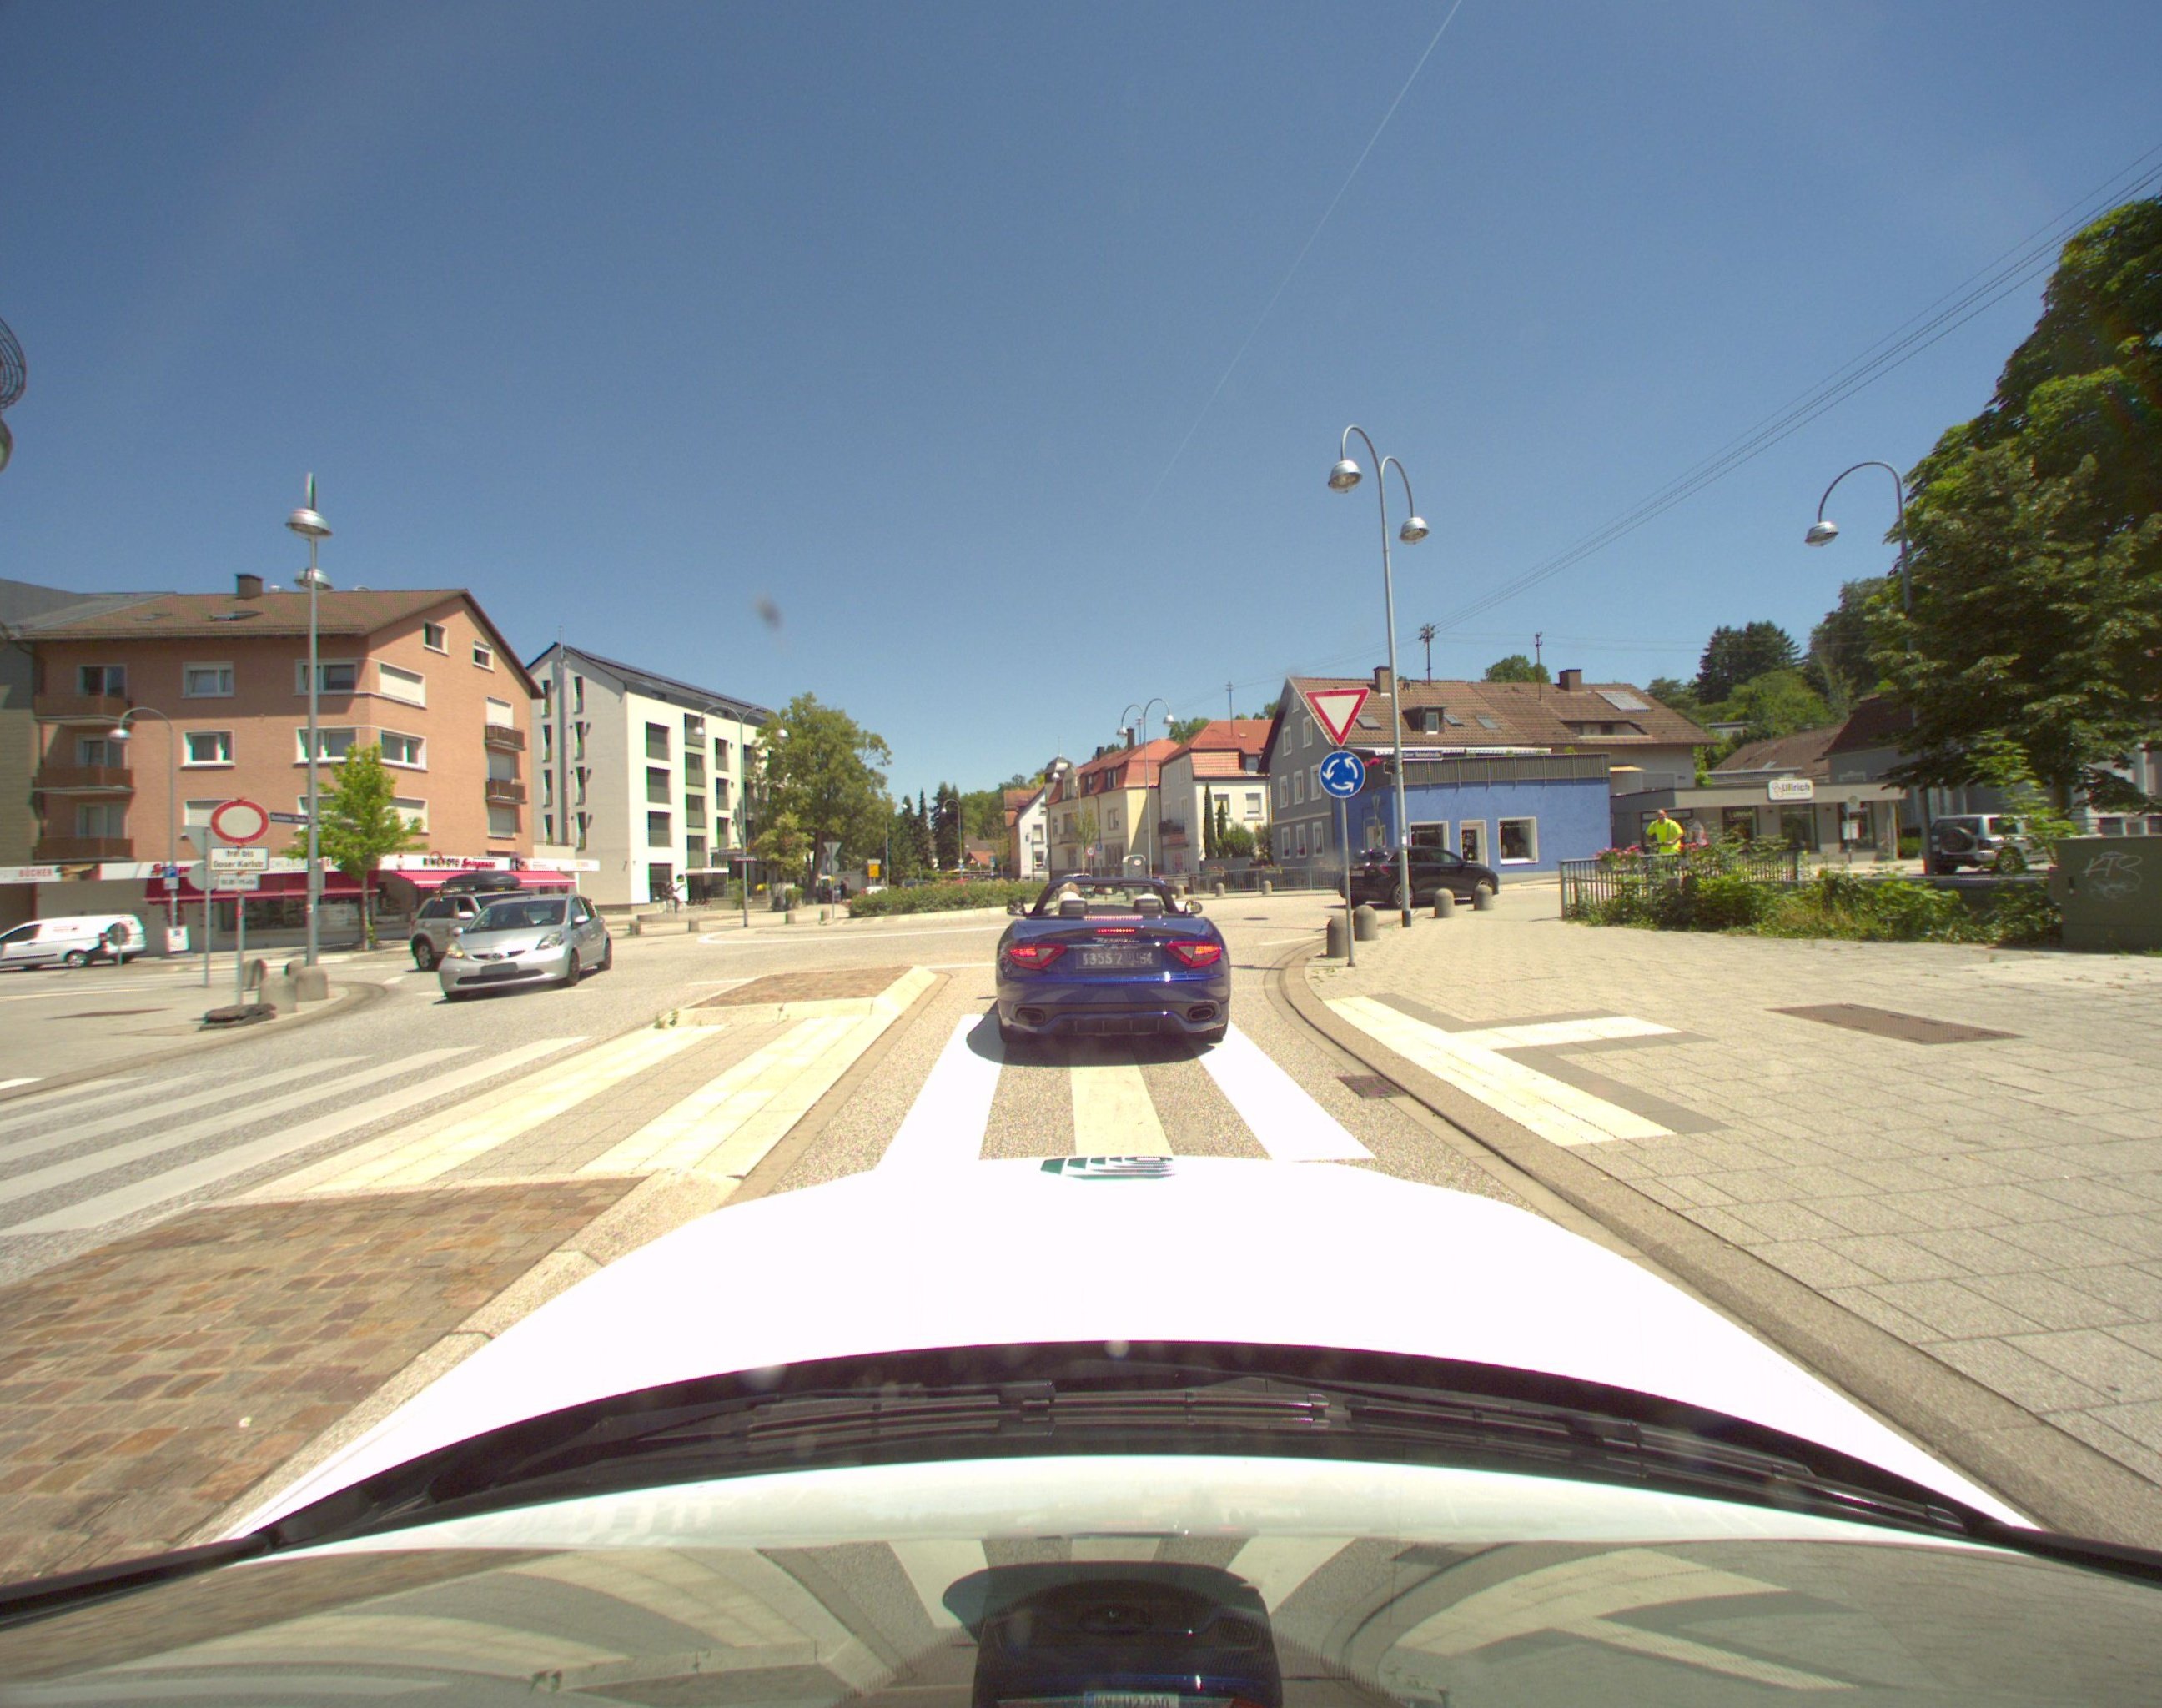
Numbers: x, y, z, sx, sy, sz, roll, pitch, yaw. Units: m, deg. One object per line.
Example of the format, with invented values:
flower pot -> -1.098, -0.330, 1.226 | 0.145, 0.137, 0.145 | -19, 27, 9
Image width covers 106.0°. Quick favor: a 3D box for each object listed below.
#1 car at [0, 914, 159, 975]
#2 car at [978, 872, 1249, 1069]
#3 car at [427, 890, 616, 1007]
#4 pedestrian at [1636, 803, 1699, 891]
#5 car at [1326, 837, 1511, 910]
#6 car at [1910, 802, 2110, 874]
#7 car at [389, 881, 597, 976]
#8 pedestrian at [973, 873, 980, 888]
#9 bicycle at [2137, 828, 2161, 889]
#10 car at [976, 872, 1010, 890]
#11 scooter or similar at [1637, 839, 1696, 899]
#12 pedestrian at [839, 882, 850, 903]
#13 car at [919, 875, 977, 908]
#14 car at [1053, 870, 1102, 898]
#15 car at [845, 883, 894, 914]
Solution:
car -> -34.574, 3.063, 27.609 | 3.994, 1.750, 1.793 | -3, -1, -15
car -> 0.344, 0.882, 7.967 | 1.902, 1.360, 4.288 | -2, -1, 3
car -> -8.841, 1.388, 13.191 | 1.580, 1.450, 3.447 | -5, 0, -20
pedestrian -> 12.498, -0.152, 17.369 | 0.739, 1.799, 0.676 | -4, -1, -20
car -> 8.562, 0.445, 20.677 | 4.266, 1.547, 1.798 | -3, 0, -22
car -> 27.794, -0.464, 24.441 | 4.210, 1.875, 1.760 | -3, -1, -5
car -> -12.997, 1.649, 17.998 | 4.149, 1.688, 1.849 | -5, 0, 25
pedestrian -> -11.466, 2.927, 89.511 | 0.614, 1.585, 0.582 | -2, -1, -25
bicycle -> 19.750, 0.042, 13.954 | 0.747, 1.083, 1.838 | -3, -1, -18
car -> -8.621, 2.691, 79.631 | 1.861, 1.588, 3.962 | -3, -1, -29
scooter or similar -> 12.485, 0.317, 17.406 | 0.525, 1.222, 1.244 | -3, -1, 13
pedestrian -> -18.528, 3.038, 63.739 | 0.531, 1.576, 0.564 | -3, -1, 12
car -> -7.156, 1.989, 44.082 | 1.787, 1.642, 4.070 | -3, -2, 10
car -> -0.253, 1.972, 52.435 | 1.924, 1.613, 4.121 | -3, -2, -18
car -> -11.699, 2.422, 45.300 | 1.991, 1.509, 3.991 | -2, -1, -6
